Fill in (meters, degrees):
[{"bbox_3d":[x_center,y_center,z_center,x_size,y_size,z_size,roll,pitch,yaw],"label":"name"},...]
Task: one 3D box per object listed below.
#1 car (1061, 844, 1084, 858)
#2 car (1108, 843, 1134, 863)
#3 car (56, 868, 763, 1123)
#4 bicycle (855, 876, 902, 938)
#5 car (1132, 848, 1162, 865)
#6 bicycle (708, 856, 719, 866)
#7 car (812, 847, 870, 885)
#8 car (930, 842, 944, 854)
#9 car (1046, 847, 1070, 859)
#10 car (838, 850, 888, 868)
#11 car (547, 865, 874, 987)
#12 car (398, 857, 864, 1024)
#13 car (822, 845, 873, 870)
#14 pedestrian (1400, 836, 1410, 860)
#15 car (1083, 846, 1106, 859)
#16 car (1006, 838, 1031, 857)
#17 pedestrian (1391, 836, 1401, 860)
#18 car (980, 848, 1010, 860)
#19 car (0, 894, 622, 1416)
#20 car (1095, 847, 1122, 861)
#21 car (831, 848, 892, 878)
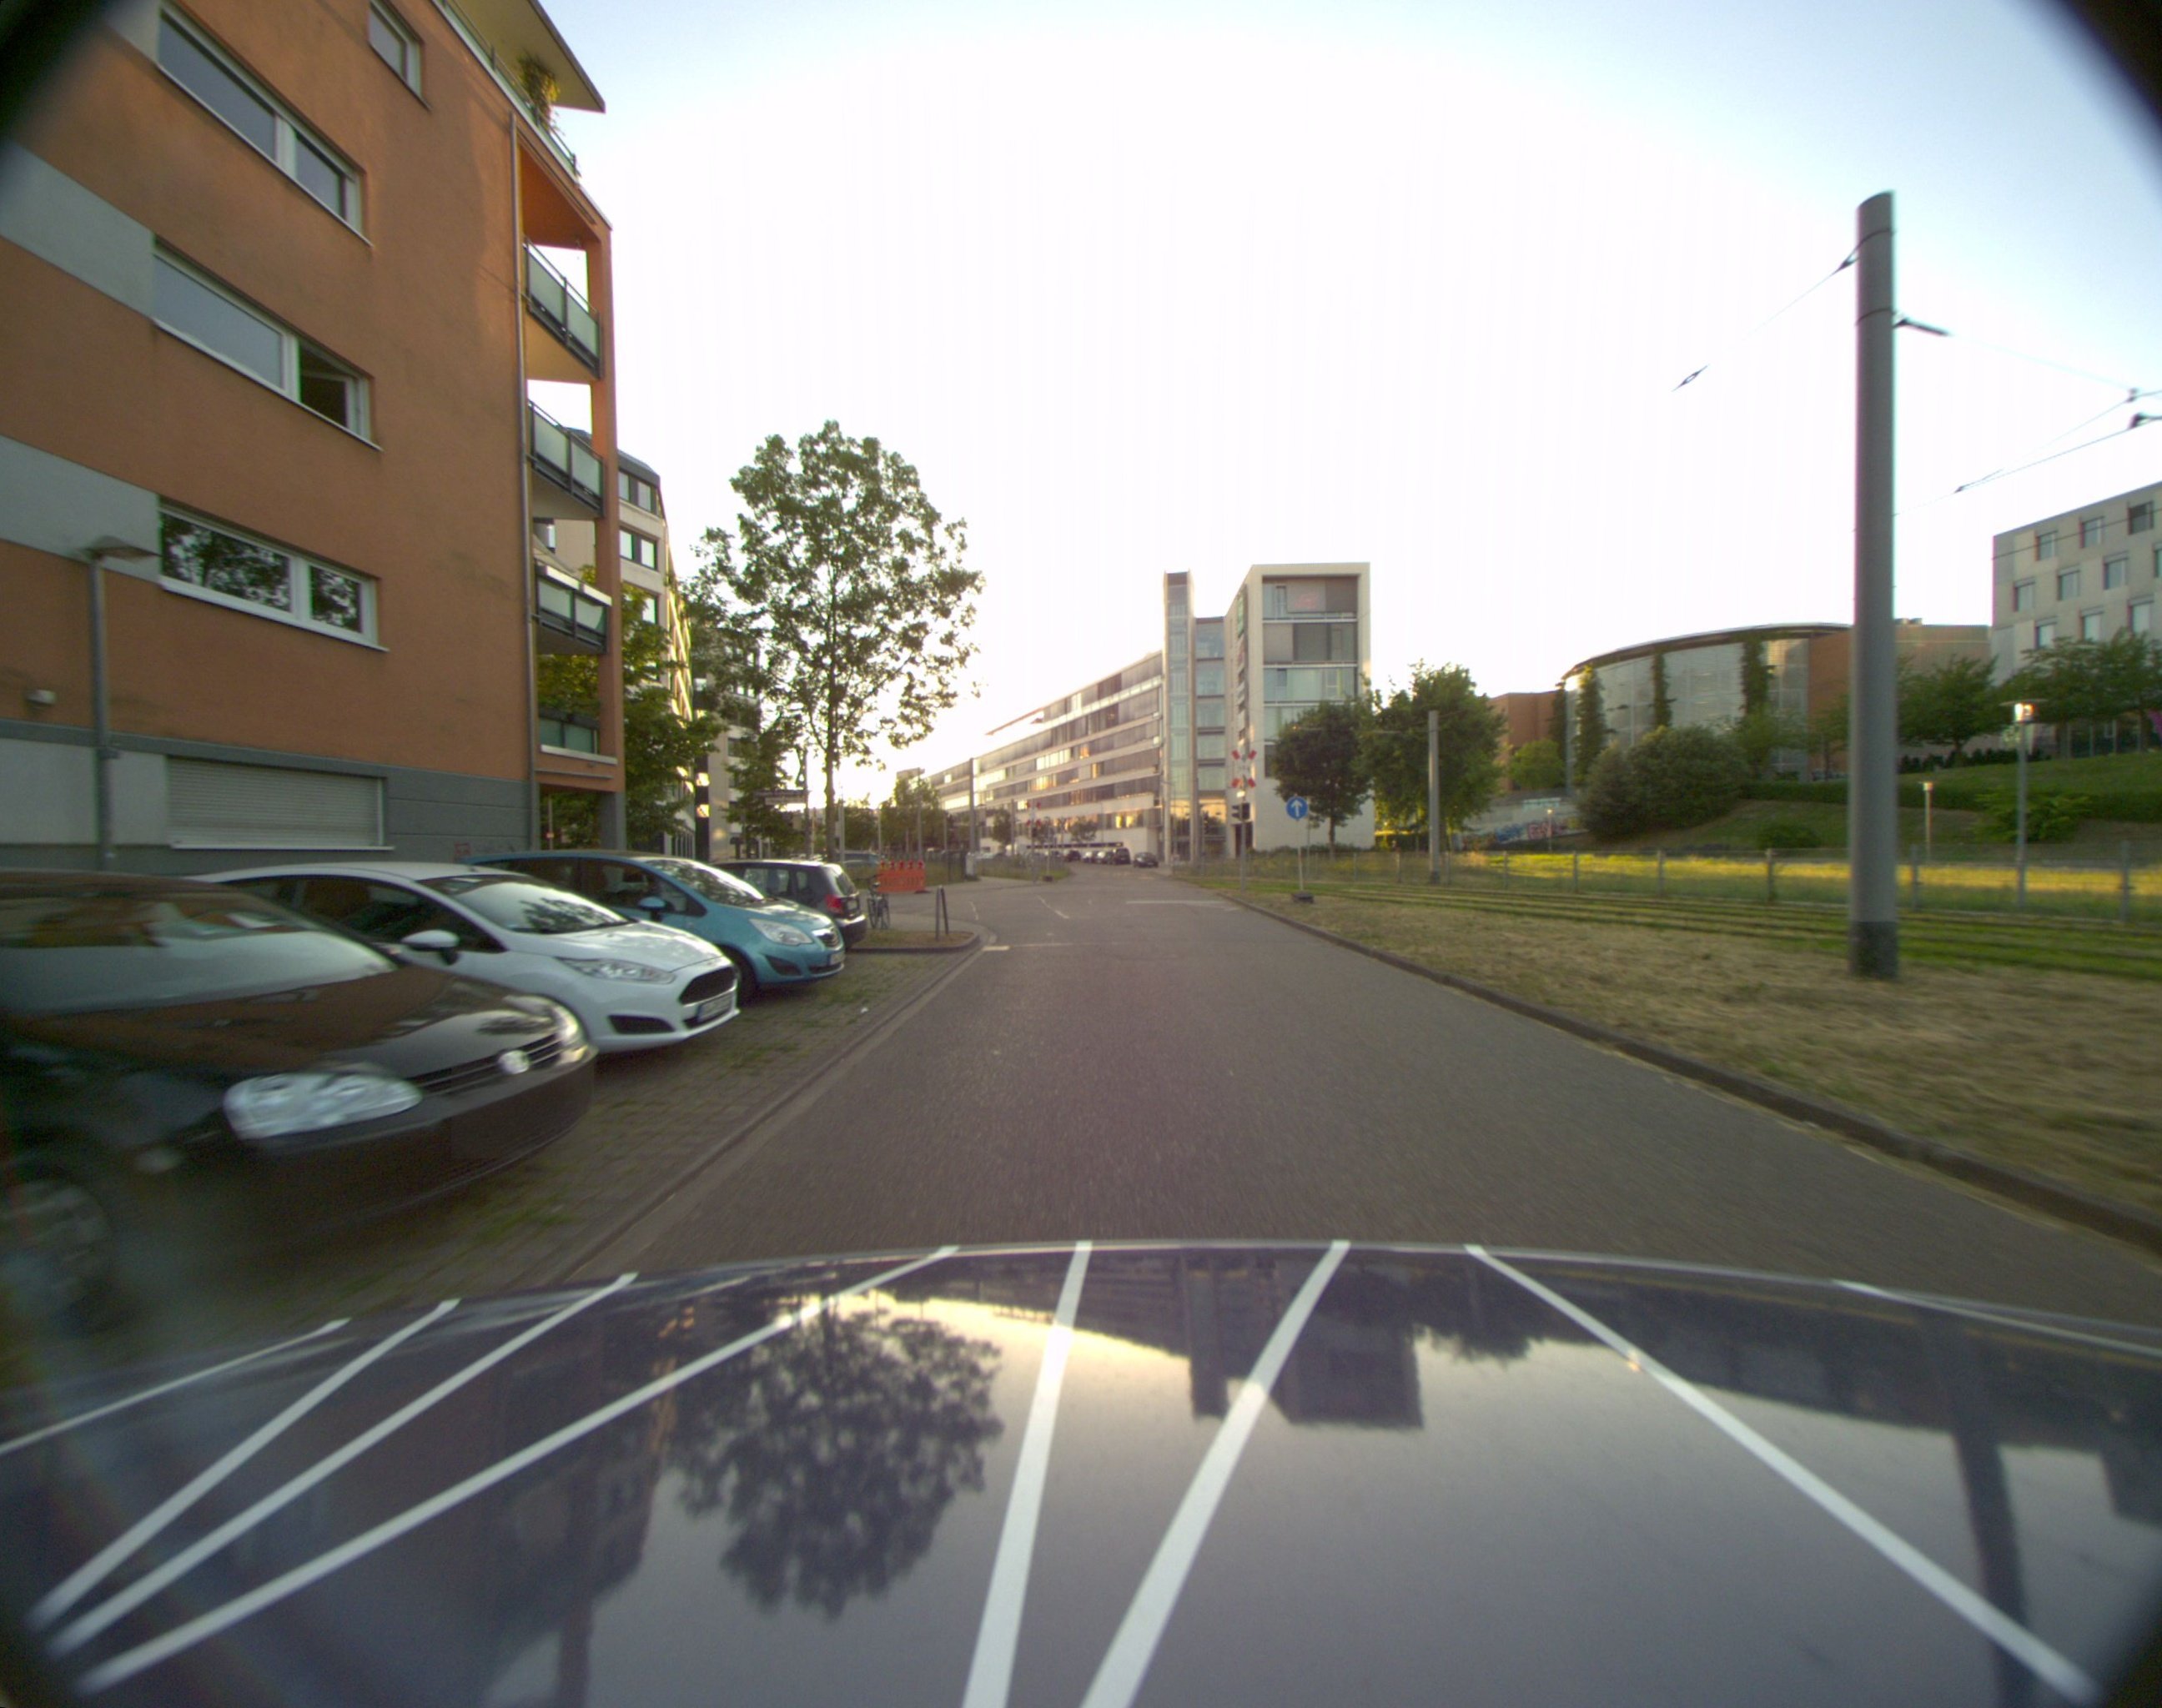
[{"bbox_3d":[-1.083,-0.408,100.073,1.799,1.676,3.993,-1,1,-20],"label":"car"},{"bbox_3d":[4.291,-0.096,82.356,1.895,1.961,4.513,-3,1,-9],"label":"car"},{"bbox_3d":[-4.699,0.942,5.729,3.886,1.560,1.620,-1,1,1],"label":"car"},{"bbox_3d":[-4.041,1.030,15.269,0.719,1.145,1.897,1,-1,-9],"label":"bicycle"},{"bbox_3d":[6.101,0.235,70.995,1.858,1.434,4.224,-3,1,-8],"label":"car"},{"bbox_3d":[-32.961,0.618,68.084,0.816,0.945,2.210,-1,1,-25],"label":"bicycle"},{"bbox_3d":[-13.664,0.641,43.450,1.998,2.002,4.000,-1,1,0],"label":"car"},{"bbox_3d":[-31.397,-1.222,166.048,2.003,2.570,3.991,-1,1,-26],"label":"car"},{"bbox_3d":[-3.237,-0.155,106.172,1.800,1.542,3.991,-3,2,-26],"label":"car"},{"bbox_3d":[-20.826,0.450,72.563,4.410,1.584,1.814,-2,1,-23],"label":"car"},{"bbox_3d":[-5.010,0.942,10.675,3.760,1.465,1.612,-1,1,-3],"label":"car"},{"bbox_3d":[-4.640,0.846,8.244,4.060,1.560,1.673,1,1,1],"label":"car"},{"bbox_3d":[-20.287,0.295,66.024,4.004,2.002,1.996,-2,1,-23],"label":"car"},{"bbox_3d":[24.935,-0.457,58.471,0.438,1.826,0.483,-3,1,-19],"label":"pedestrian"},{"bbox_3d":[1.638,-0.174,91.755,1.654,1.468,3.760,-1,1,-18],"label":"car"},{"bbox_3d":[-9.799,-0.950,119.010,2.008,2.859,6.242,0,0,-23],"label":"car"},{"bbox_3d":[24.389,-0.452,58.855,0.450,1.826,0.483,-3,1,-19],"label":"pedestrian"},{"bbox_3d":[-10.949,0.011,96.875,1.713,1.368,4.007,-1,1,28],"label":"car"},{"bbox_3d":[-4.229,0.975,3.076,3.783,1.486,1.539,-1,0,1],"label":"car"},{"bbox_3d":[3.118,0.039,87.177,1.867,1.468,4.514,-3,1,-15],"label":"car"},{"bbox_3d":[-15.523,0.608,53.737,4.004,2.002,1.996,-1,1,-21],"label":"car"}]
